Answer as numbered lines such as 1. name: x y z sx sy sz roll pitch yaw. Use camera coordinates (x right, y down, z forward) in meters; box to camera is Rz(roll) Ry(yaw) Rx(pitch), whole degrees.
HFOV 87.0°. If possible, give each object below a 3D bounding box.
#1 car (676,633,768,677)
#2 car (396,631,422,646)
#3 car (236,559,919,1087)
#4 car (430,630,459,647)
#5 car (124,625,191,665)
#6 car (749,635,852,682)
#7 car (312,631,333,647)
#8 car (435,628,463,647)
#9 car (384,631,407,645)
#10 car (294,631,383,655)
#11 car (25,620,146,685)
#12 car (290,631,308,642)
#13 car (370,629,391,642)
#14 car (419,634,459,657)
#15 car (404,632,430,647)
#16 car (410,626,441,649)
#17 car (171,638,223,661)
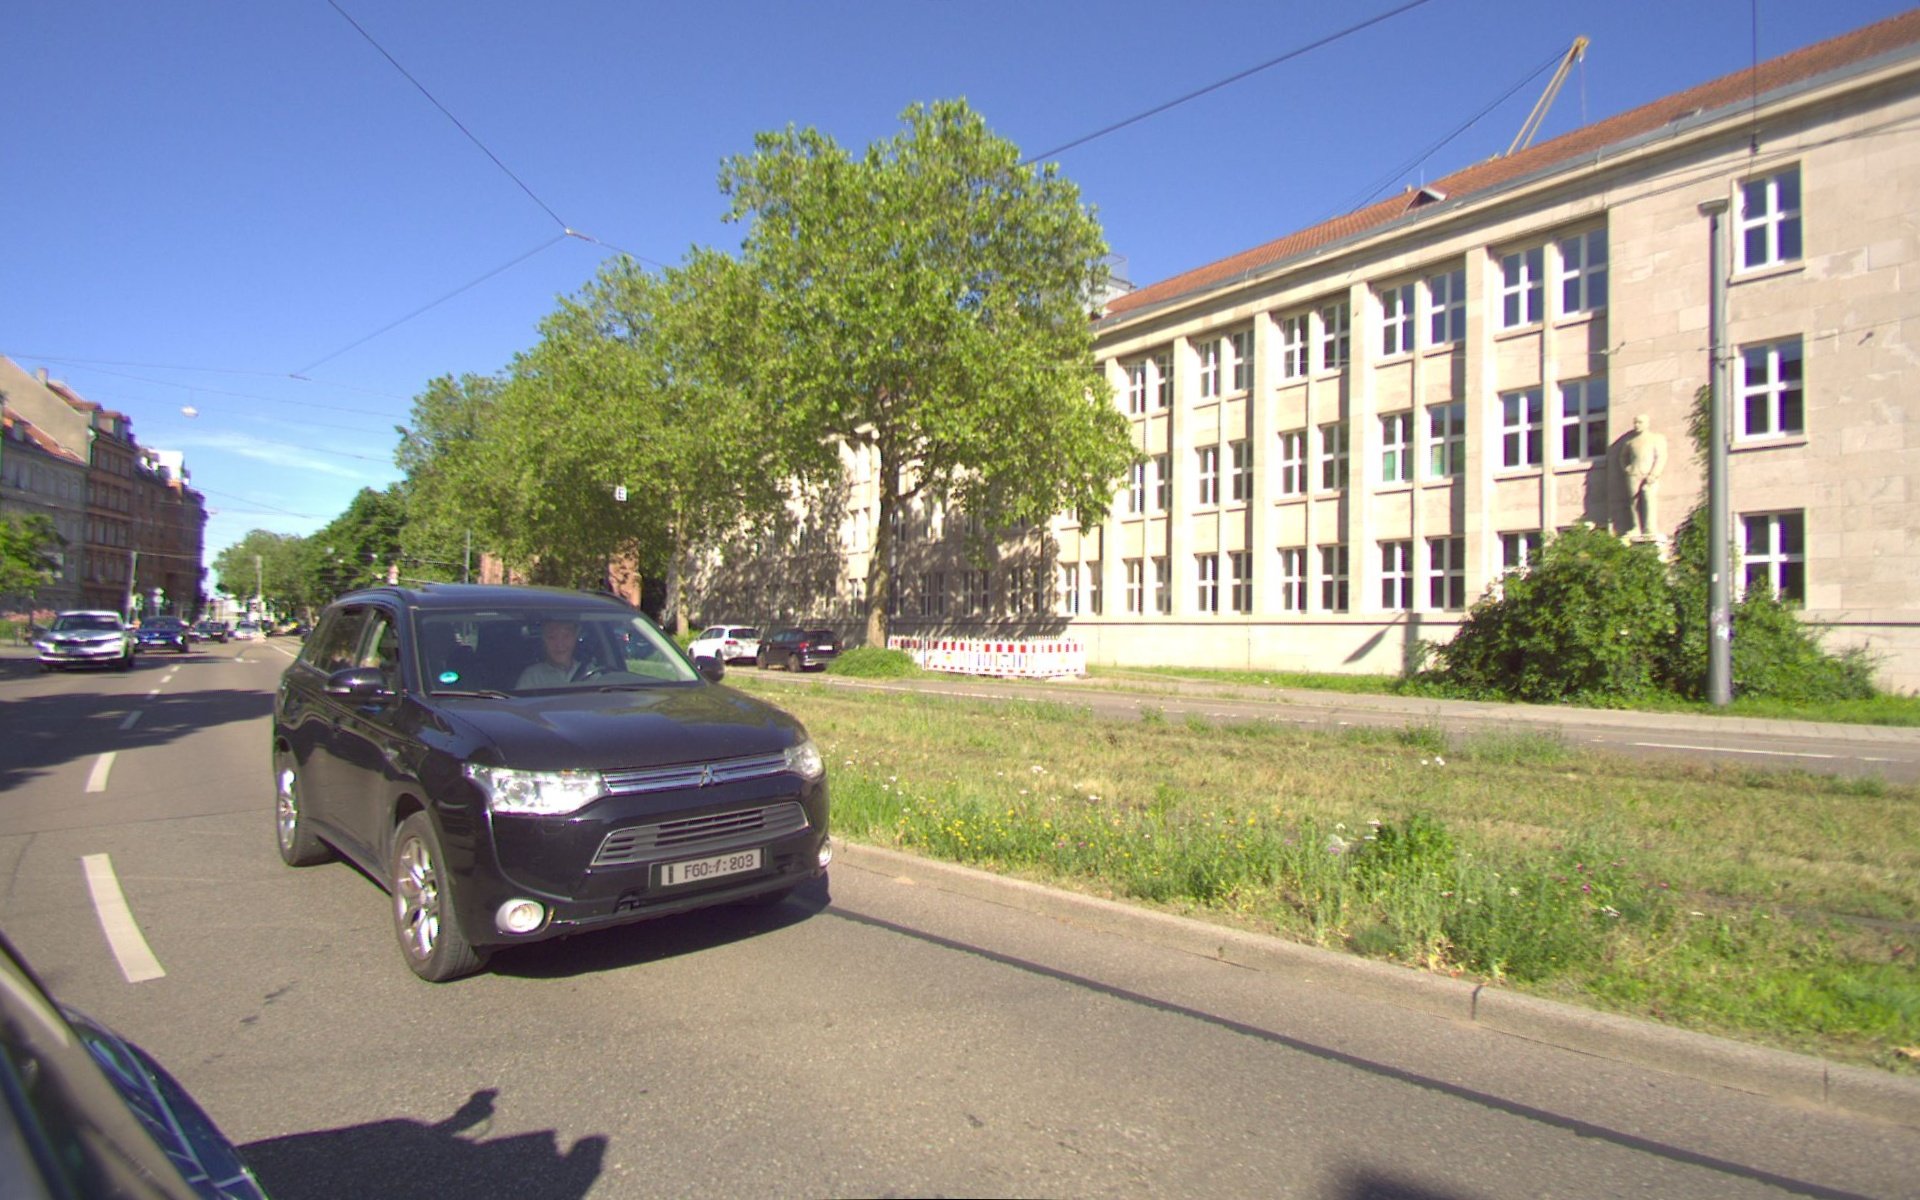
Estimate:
1. car: -9.536 2.164 40.317 1.806 1.600 4.404 4 -4 -39
2. car: -58.468 4.110 107.362 1.767 1.563 4.316 3 -3 -37
3. car: -2.448 0.759 5.573 1.814 1.695 4.646 2 -2 -44
4. car: -48.441 3.635 94.996 1.767 1.563 3.869 3 -3 -36
5. car: -34.086 1.889 43.069 1.967 1.630 4.273 2 -3 -36
6. car: -5.563 1.998 34.891 1.805 1.504 4.191 3 -3 -35
7. car: -80.633 4.910 127.899 2.033 1.905 4.529 5 -4 -33
8. car: -46.257 3.417 91.562 1.751 1.586 3.686 3 -4 -34
9. car: -64.589 4.309 115.774 1.767 1.563 4.317 3 -3 -36
10. car: -42.308 2.939 68.961 4.890 1.464 1.836 2 -3 -1
11. car: -24.216 1.415 28.185 1.772 1.648 4.406 2 -2 -31
12. car: -92.043 5.050 140.914 1.769 1.440 4.386 3 -3 -36
13. car: -71.667 4.365 125.101 1.767 1.563 4.317 3 -3 -36
14. car: -34.686 3.007 67.375 1.805 1.464 4.181 4 -4 -34
15. car: -55.533 4.026 103.524 1.767 1.563 3.869 3 -3 -36
16. car: -52.269 3.665 98.976 1.891 2.113 4.602 3 -3 -37
17. car: -51.137 3.273 67.835 4.373 1.438 1.865 -1 -3 41
